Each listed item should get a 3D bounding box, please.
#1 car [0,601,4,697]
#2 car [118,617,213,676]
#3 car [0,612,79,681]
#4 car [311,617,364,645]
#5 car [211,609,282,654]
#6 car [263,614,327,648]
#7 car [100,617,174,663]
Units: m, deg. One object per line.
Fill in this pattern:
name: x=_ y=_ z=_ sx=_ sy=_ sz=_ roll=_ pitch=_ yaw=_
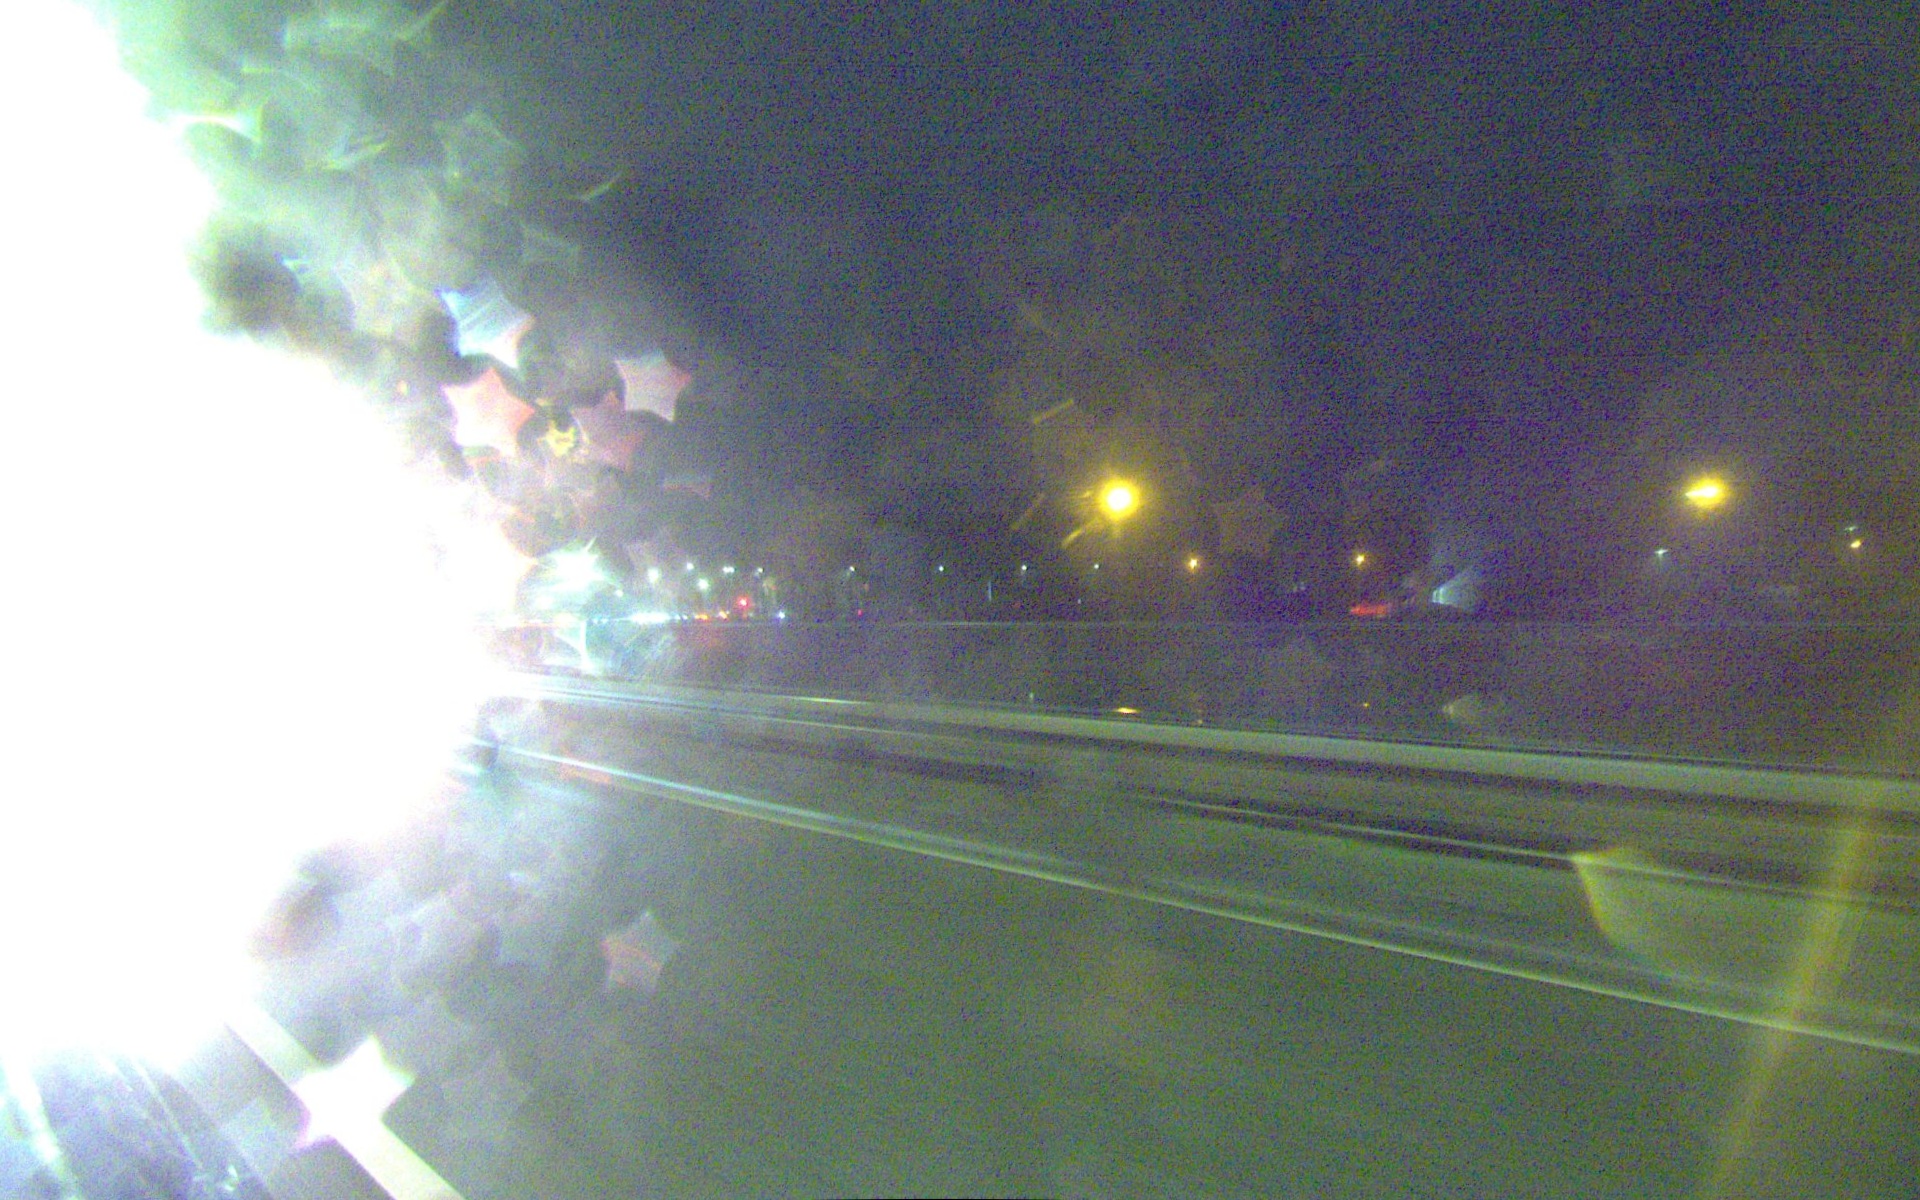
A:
car: x=-18.758 y=0.927 z=18.233 sx=1.907 sy=1.887 sz=4.007 roll=0 pitch=-2 yaw=-39
car: x=-22.108 y=1.252 z=28.144 sx=1.968 sy=1.495 sz=4.007 roll=0 pitch=-2 yaw=-39
car: x=-28.284 y=1.387 z=30.706 sx=1.967 sy=1.949 sz=4.009 roll=0 pitch=-2 yaw=-36
car: x=-44.408 y=2.203 z=72.328 sx=2.340 sy=1.950 sz=4.430 roll=0 pitch=-1 yaw=-19
car: x=-34.902 y=1.534 z=49.628 sx=2.340 sy=2.107 sz=4.430 roll=0 pitch=-2 yaw=-29
car: x=-40.166 y=1.842 z=61.247 sx=2.340 sy=1.950 sz=4.431 roll=0 pitch=-1 yaw=-21
car: x=-37.270 y=1.776 z=45.950 sx=1.966 sy=1.949 sz=4.012 roll=0 pitch=-2 yaw=-30
